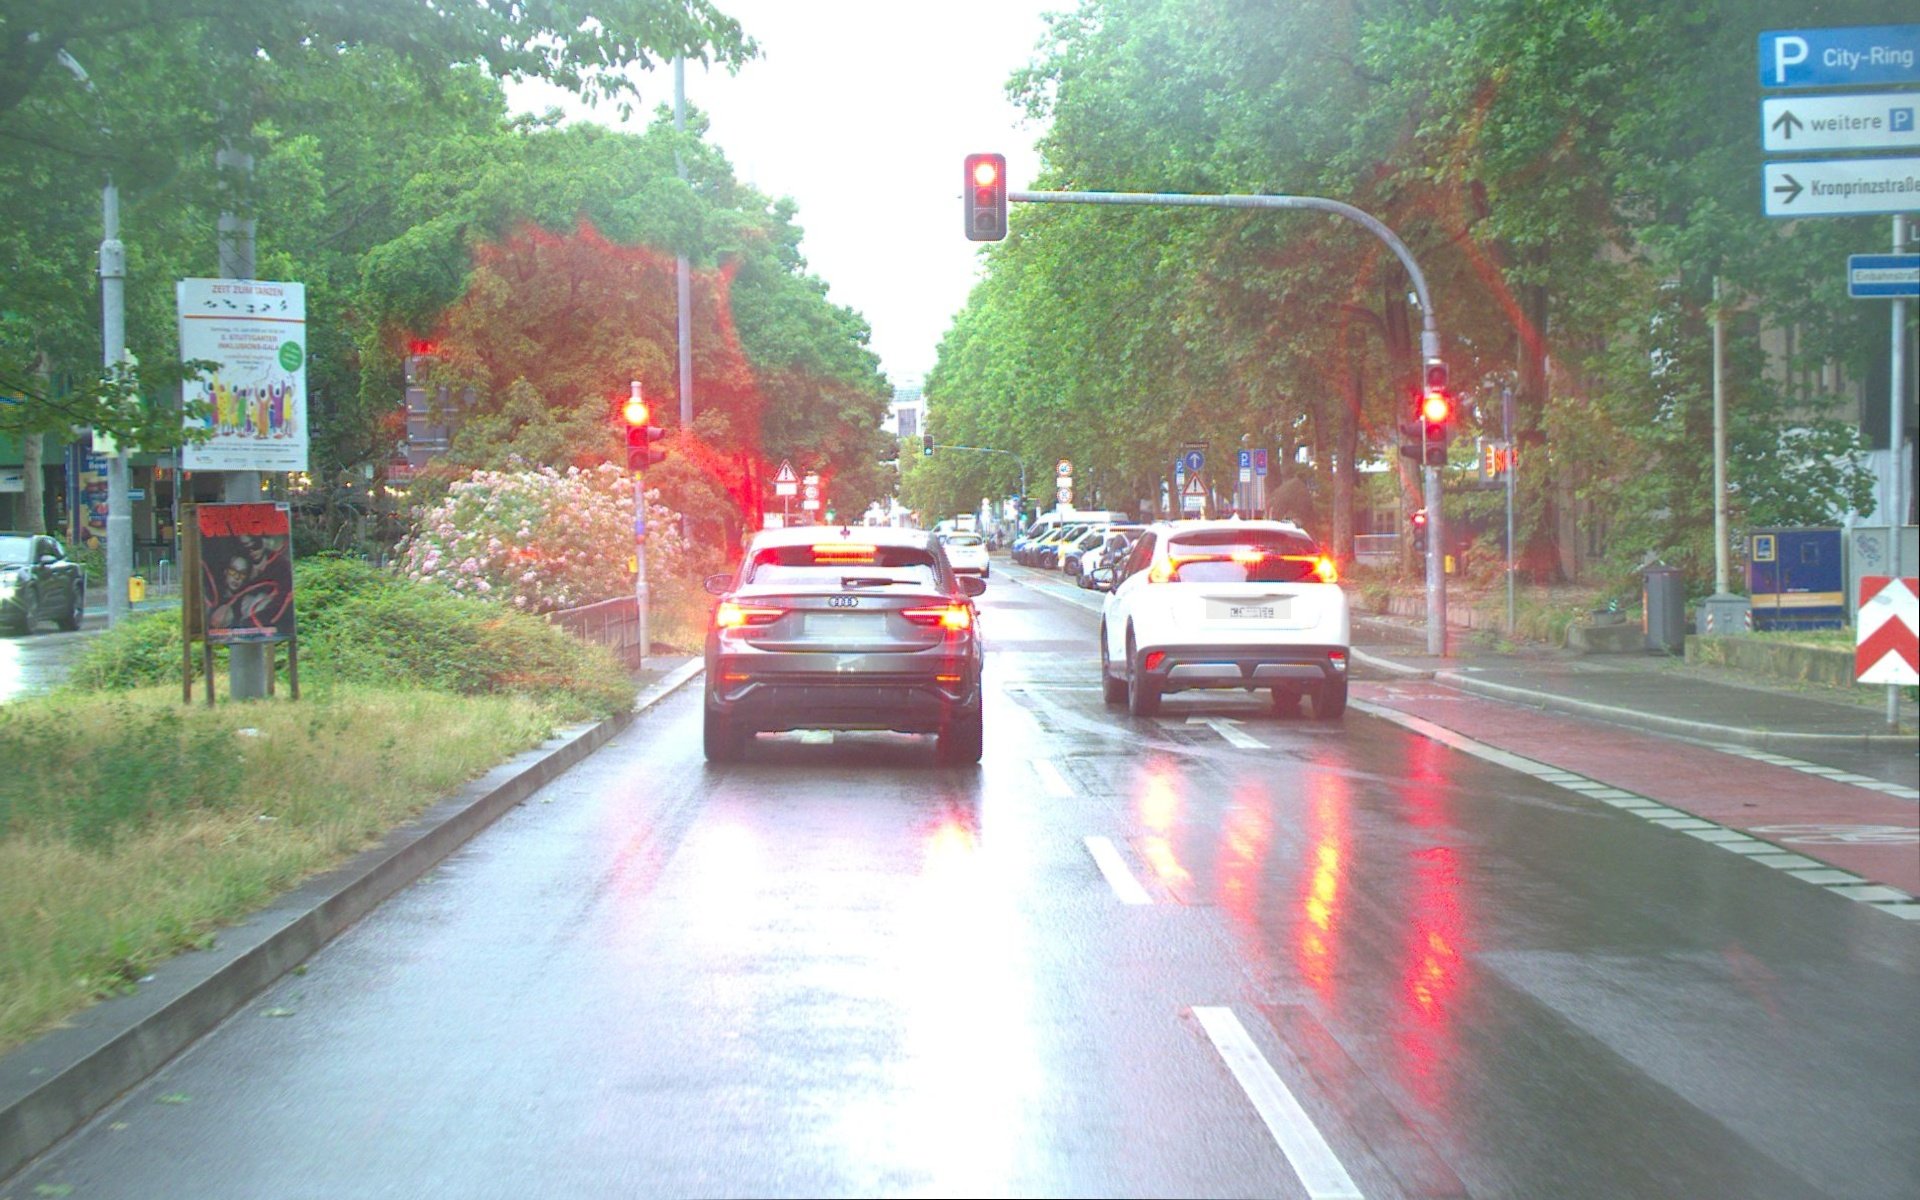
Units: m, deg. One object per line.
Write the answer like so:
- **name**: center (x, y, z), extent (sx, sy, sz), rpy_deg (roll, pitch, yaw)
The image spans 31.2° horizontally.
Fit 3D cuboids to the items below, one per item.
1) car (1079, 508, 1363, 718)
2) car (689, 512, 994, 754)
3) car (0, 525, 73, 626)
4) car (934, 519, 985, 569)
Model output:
- **car**: center (2.183, 0.036, 30.109), extent (1.993, 1.649, 4.889), rpy_deg (0, 2, -1)
- **car**: center (-0.799, 0.159, 23.693), extent (1.918, 1.486, 4.001), rpy_deg (0, 2, -1)
- **car**: center (-15.539, -0.414, 54.924), extent (1.829, 1.546, 4.190), rpy_deg (0, 1, -3)
- **car**: center (-0.031, -1.968, 119.662), extent (1.620, 1.660, 4.001), rpy_deg (-1, 2, -1)
